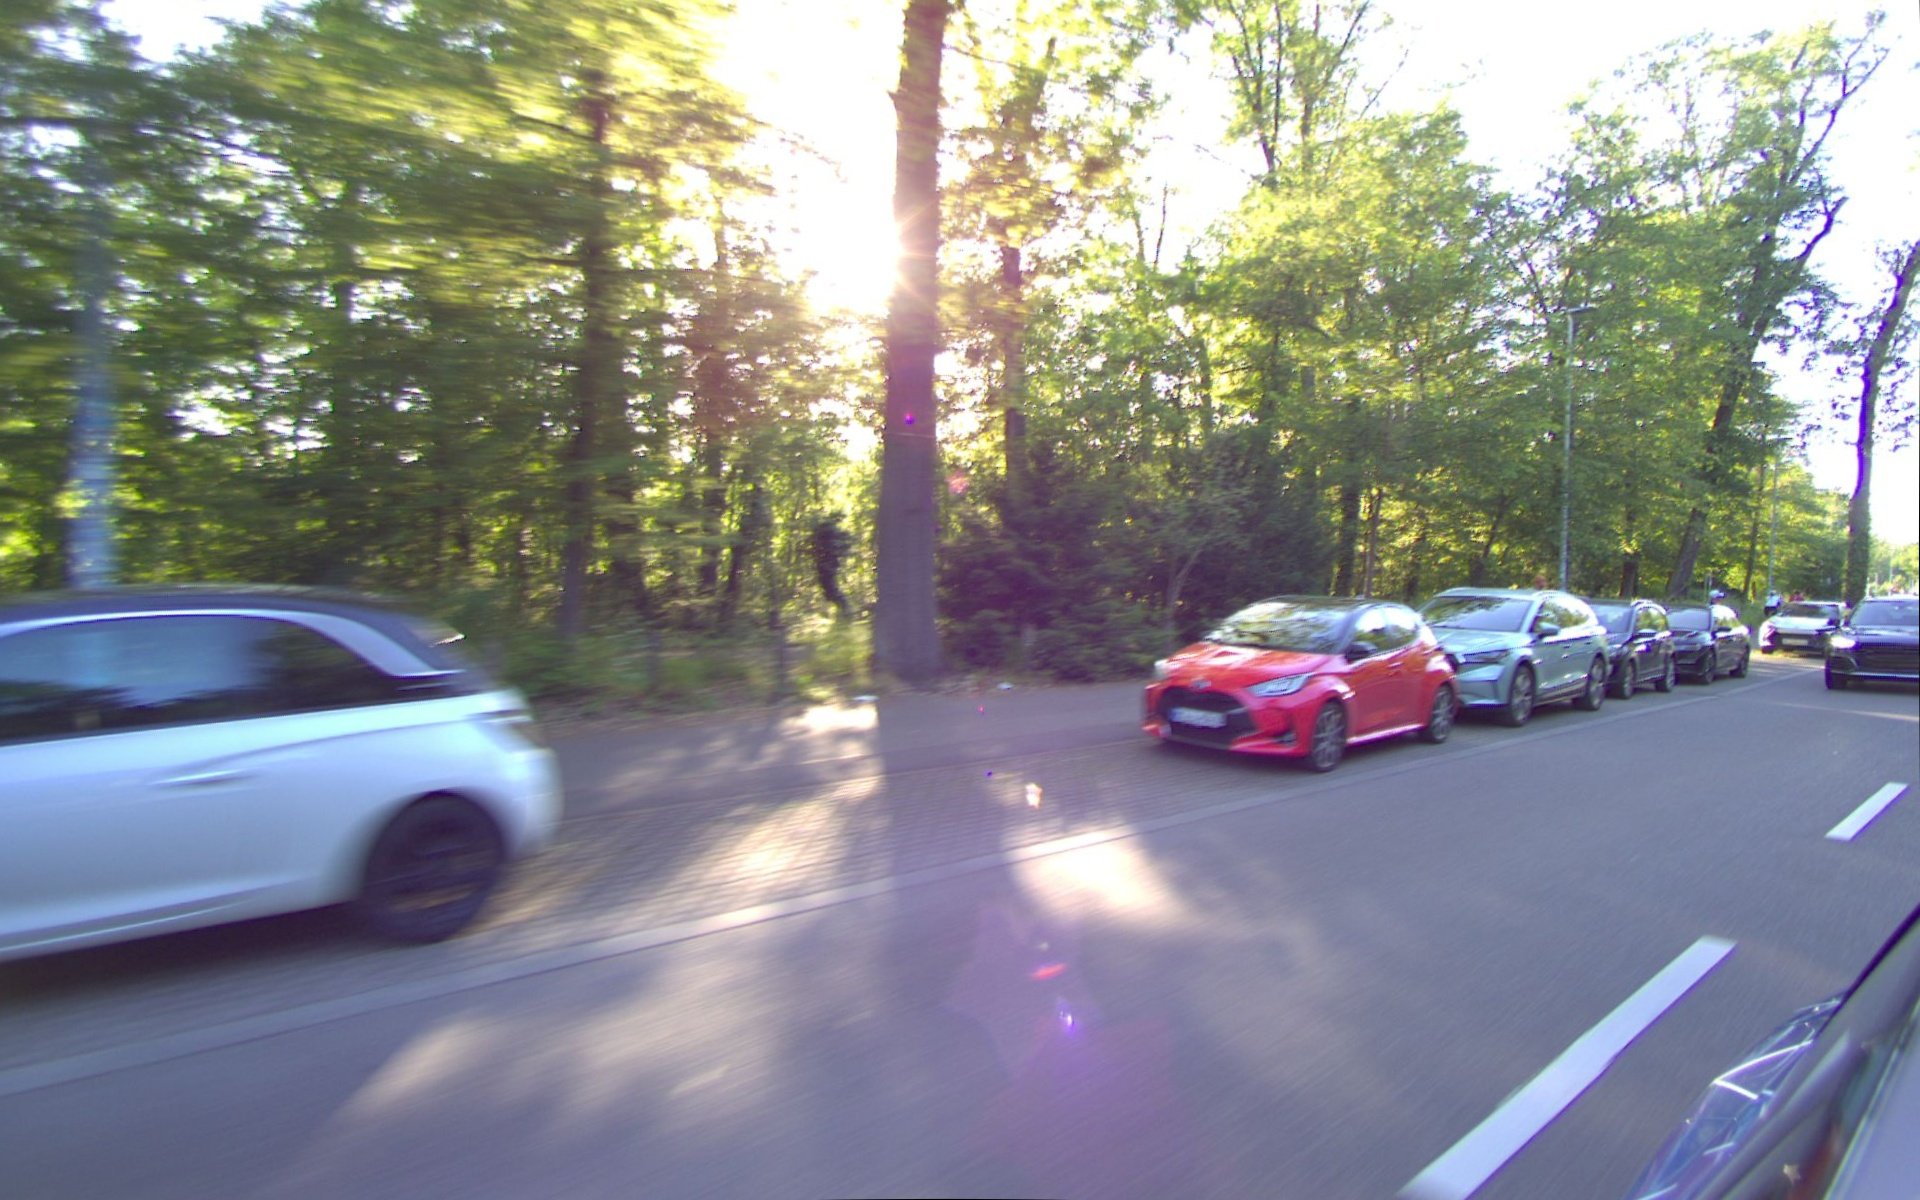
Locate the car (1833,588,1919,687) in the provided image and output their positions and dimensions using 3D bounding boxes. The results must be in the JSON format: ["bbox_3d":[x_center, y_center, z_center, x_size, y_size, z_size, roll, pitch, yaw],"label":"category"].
[{"bbox_3d":[17.249,0.610,18.248,3.933,1.638,1.859,-1,2,-43],"label":"car"}]

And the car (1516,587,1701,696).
[{"bbox_3d":[10.866,0.601,16.862,3.843,1.540,1.598,0,3,-42],"label":"car"}]

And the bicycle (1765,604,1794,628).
[{"bbox_3d":[31.818,0.622,39.287,1.899,0.894,0.592,0,1,-42],"label":"bicycle"}]

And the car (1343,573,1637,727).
[{"bbox_3d":[7.125,0.530,13.379,4.641,1.604,1.857,0,4,-42],"label":"car"}]

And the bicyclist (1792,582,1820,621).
[{"bbox_3d":[34.890,0.045,41.755,0.861,1.580,0.703,0,3,-42],"label":"bicyclist"}]

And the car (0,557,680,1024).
[{"bbox_3d":[-3.558,0.604,4.201,4.208,1.474,1.857,0,4,-41],"label":"car"}]

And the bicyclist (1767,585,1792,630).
[{"bbox_3d":[31.788,0.279,39.259,0.820,1.737,0.596,0,1,-41],"label":"bicyclist"}]

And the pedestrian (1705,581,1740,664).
[{"bbox_3d":[16.671,0.476,22.143,0.510,1.778,0.726,3,2,35],"label":"pedestrian"}]

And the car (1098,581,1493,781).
[{"bbox_3d":[3.532,0.625,10.189,4.388,1.474,1.856,0,4,-43],"label":"car"}]

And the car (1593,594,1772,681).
[{"bbox_3d":[14.367,0.646,20.042,4.455,1.452,1.857,0,3,-41],"label":"car"}]

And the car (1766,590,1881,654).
[{"bbox_3d":[24.750,0.581,28.948,4.379,1.579,1.810,0,4,-41],"label":"car"}]
